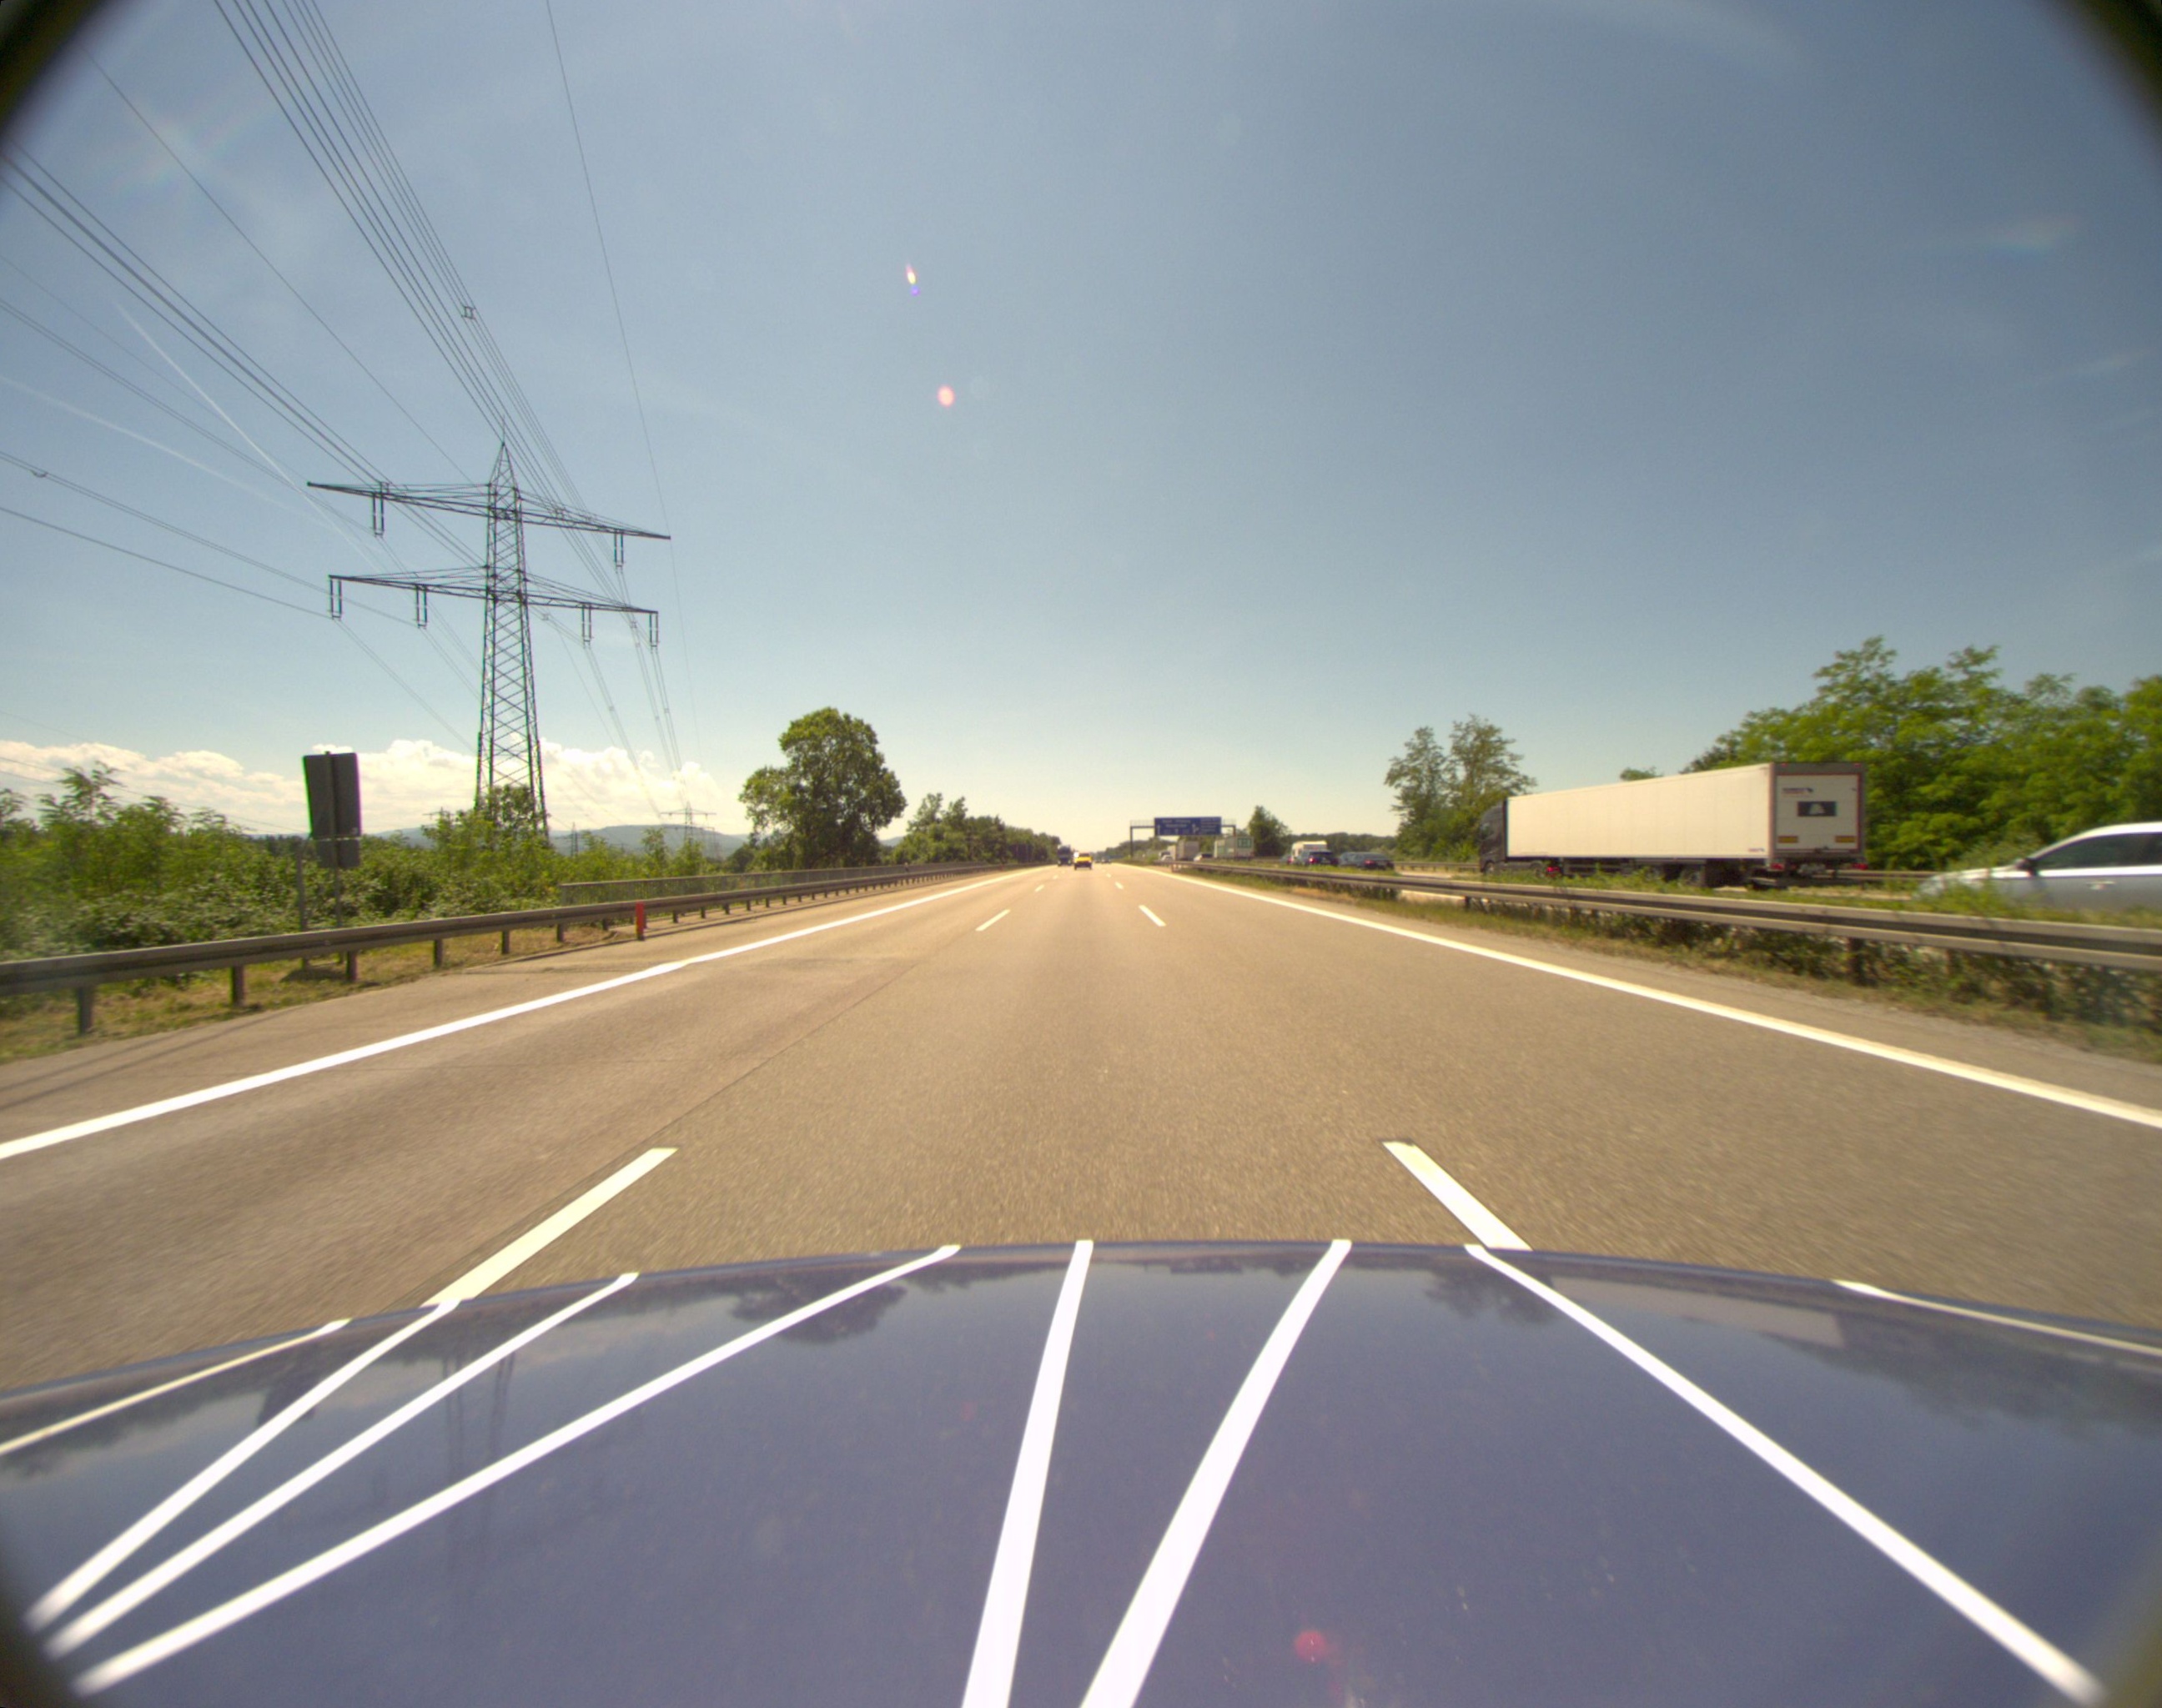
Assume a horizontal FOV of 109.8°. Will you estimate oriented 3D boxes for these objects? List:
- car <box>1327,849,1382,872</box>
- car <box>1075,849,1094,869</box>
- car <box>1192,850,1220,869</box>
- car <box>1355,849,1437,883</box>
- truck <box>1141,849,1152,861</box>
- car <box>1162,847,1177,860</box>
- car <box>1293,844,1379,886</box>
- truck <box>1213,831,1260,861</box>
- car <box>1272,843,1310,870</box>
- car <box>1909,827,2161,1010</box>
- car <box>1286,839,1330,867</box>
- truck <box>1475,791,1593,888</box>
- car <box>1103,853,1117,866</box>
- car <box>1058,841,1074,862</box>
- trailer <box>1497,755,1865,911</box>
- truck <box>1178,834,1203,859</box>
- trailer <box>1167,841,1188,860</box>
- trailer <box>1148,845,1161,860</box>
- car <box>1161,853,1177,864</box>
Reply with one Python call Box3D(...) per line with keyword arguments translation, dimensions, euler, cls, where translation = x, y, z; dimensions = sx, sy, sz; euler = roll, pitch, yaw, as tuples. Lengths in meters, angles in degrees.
Box3D(translation=(20.876, 0.467, 58.221), dimensions=(2.489, 1.627, 4.750), euler=(0, 0, 1), cls="car")
Box3D(translation=(0.376, 0.525, 82.685), dimensions=(1.955, 2.002, 5.433), euler=(-1, 0, 1), cls="car")
Box3D(translation=(14.071, 0.558, 85.726), dimensions=(2.303, 2.002, 4.557), euler=(-2, 0, 1), cls="car")
Box3D(translation=(16.899, 0.620, 41.047), dimensions=(2.393, 1.630, 4.820), euler=(-2, 0, 1), cls="car")
Box3D(translation=(23.206, 0.381, 269.959), dimensions=(3.243, 4.110, 8.607), euler=(-2, 0, 0), cls="truck")
Box3D(translation=(16.872, -0.081, 145.640), dimensions=(2.174, 2.569, 6.038), euler=(-1, 0, 1), cls="car")
Box3D(translation=(13.039, 0.539, 39.366), dimensions=(2.489, 1.920, 5.739), euler=(-2, 0, 1), cls="car")
Box3D(translation=(21.822, -1.036, 107.797), dimensions=(3.252, 3.780, 17.012), euler=(-2, 0, 1), cls="truck")
Box3D(translation=(21.404, 0.242, 77.684), dimensions=(2.424, 2.599, 5.716), euler=(0, 0, 1), cls="car")
Box3D(translation=(13.282, 0.689, 8.750), dimensions=(2.489, 2.002, 4.557), euler=(-2, 0, 1), cls="car")
Box3D(translation=(21.313, -0.091, 71.600), dimensions=(2.424, 2.599, 5.716), euler=(0, 0, 1), cls="car")
Box3D(translation=(20.878, -0.611, 35.345), dimensions=(2.429, 4.087, 4.920), euler=(-2, 0, 0), cls="truck")
Box3D(translation=(5.775, 1.124, 153.116), dimensions=(2.686, 2.510, 5.967), euler=(-1, 0, 1), cls="car")
Box3D(translation=(-2.774, -0.434, 139.037), dimensions=(2.686, 3.723, 6.271), euler=(-1, 0, 1), cls="car")
Box3D(translation=(20.815, -0.577, 28.549), dimensions=(2.429, 4.264, 14.432), euler=(-2, 0, 1), cls="trailer")
Box3D(translation=(18.276, -1.251, 127.693), dimensions=(2.863, 3.896, 9.494), euler=(-2, 1, 1), cls="truck")
Box3D(translation=(22.259, -0.825, 175.298), dimensions=(2.750, 4.182, 13.947), euler=(-2, 0, 0), cls="trailer")
Box3D(translation=(22.848, -0.423, 237.426), dimensions=(2.750, 4.281, 13.948), euler=(-2, 0, 0), cls="trailer")
Box3D(translation=(14.217, 0.723, 123.485), dimensions=(2.080, 1.781, 5.108), euler=(0, 0, 1), cls="car")
